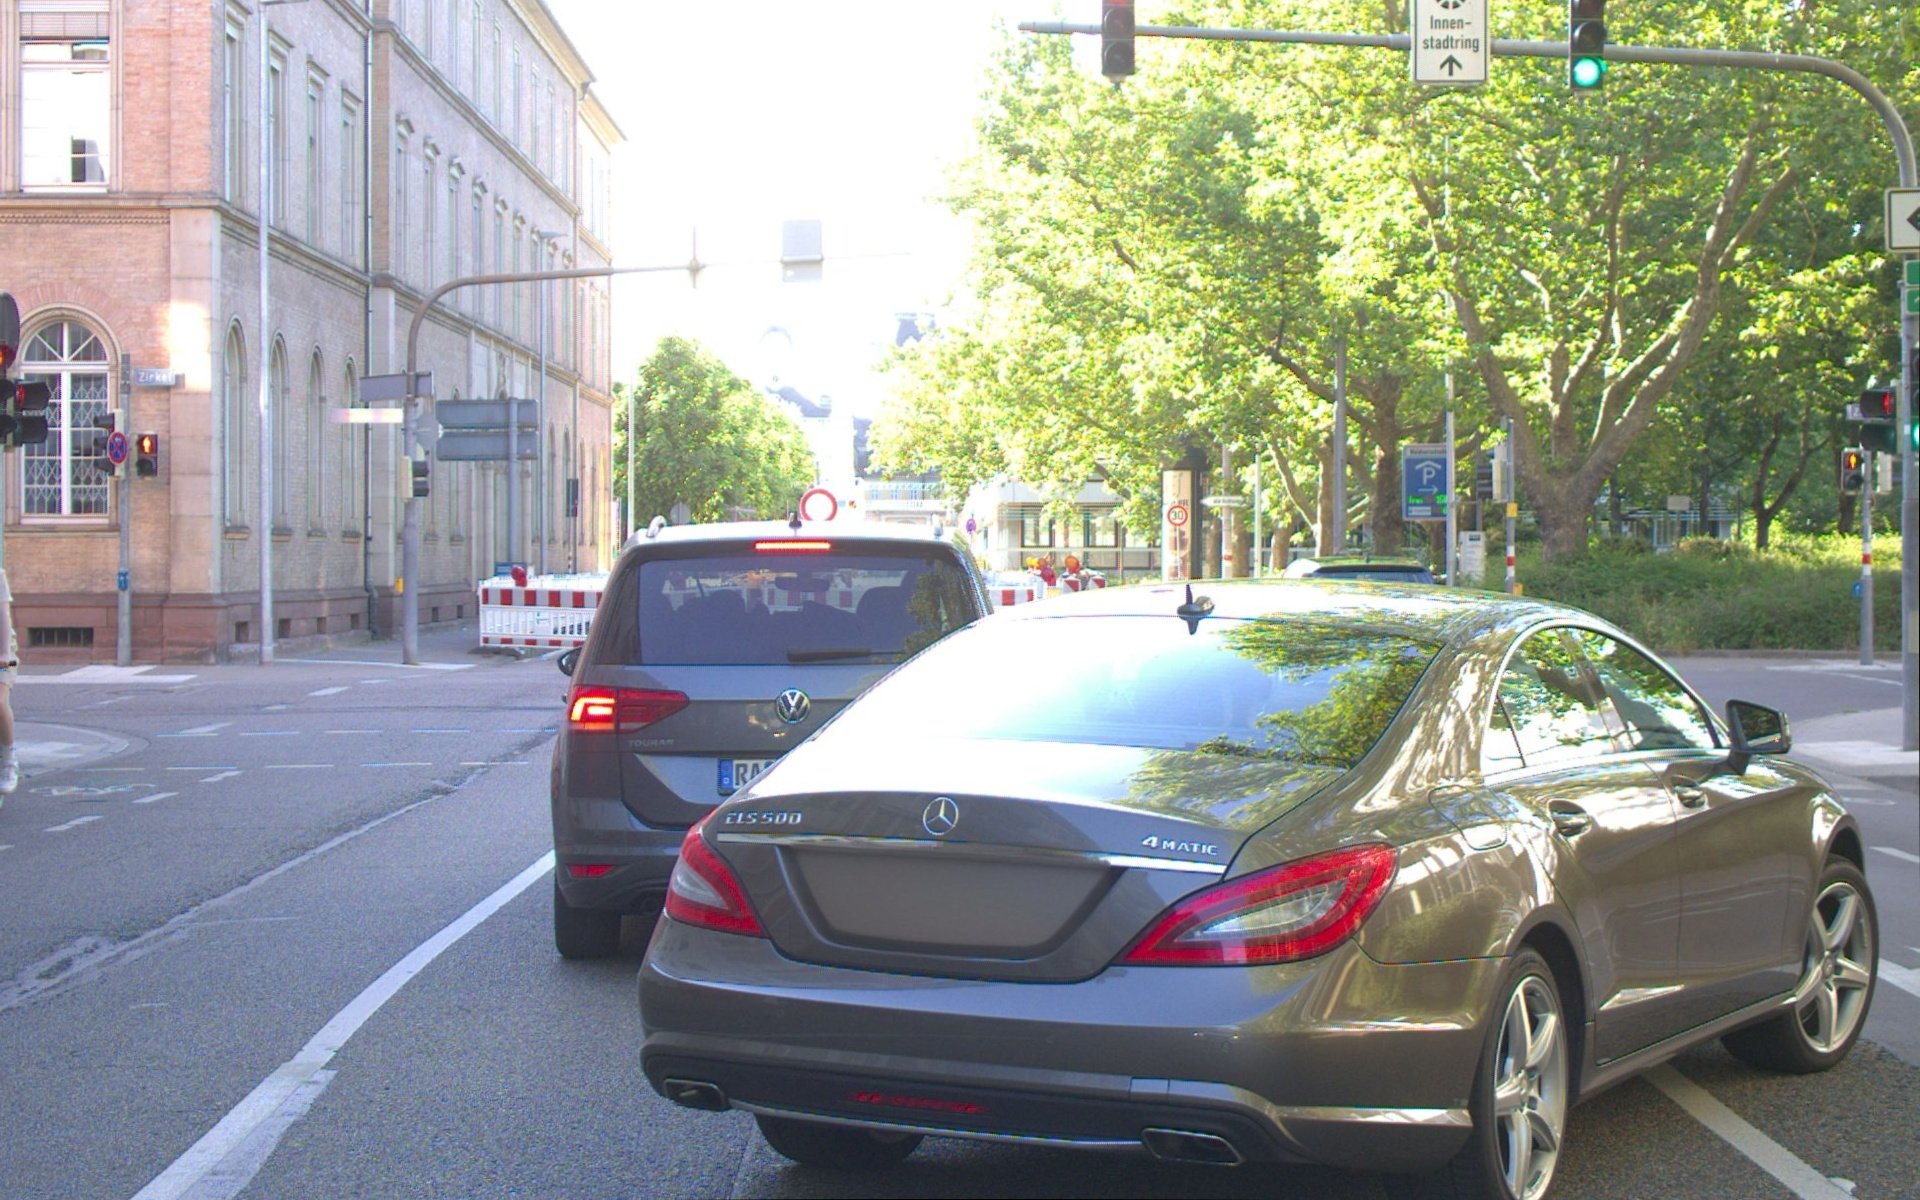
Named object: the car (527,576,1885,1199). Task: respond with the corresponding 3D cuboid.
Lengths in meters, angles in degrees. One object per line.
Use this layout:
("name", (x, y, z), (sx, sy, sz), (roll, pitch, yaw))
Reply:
("car", (0.942, 0.672, 8.806), (1.846, 1.424, 4.510), (1, 1, 27))

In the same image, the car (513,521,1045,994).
("car", (-0.582, 0.518, 13.722), (1.809, 1.607, 4.000), (0, 1, 1))

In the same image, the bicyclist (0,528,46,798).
("bicyclist", (-5.804, 0.355, 20.207), (0.648, 1.553, 0.807), (1, 0, -1))

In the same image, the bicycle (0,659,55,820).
("bicycle", (-5.801, 0.816, 20.087), (0.548, 0.888, 1.868), (1, 1, -1))

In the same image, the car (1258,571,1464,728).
("car", (3.907, 0.447, 34.029), (1.689, 1.435, 3.902), (1, 0, 2))

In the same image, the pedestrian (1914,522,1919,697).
("pedestrian", (10.266, 0.096, 35.347), (0.732, 1.802, 0.909), (-1, -1, 7))
